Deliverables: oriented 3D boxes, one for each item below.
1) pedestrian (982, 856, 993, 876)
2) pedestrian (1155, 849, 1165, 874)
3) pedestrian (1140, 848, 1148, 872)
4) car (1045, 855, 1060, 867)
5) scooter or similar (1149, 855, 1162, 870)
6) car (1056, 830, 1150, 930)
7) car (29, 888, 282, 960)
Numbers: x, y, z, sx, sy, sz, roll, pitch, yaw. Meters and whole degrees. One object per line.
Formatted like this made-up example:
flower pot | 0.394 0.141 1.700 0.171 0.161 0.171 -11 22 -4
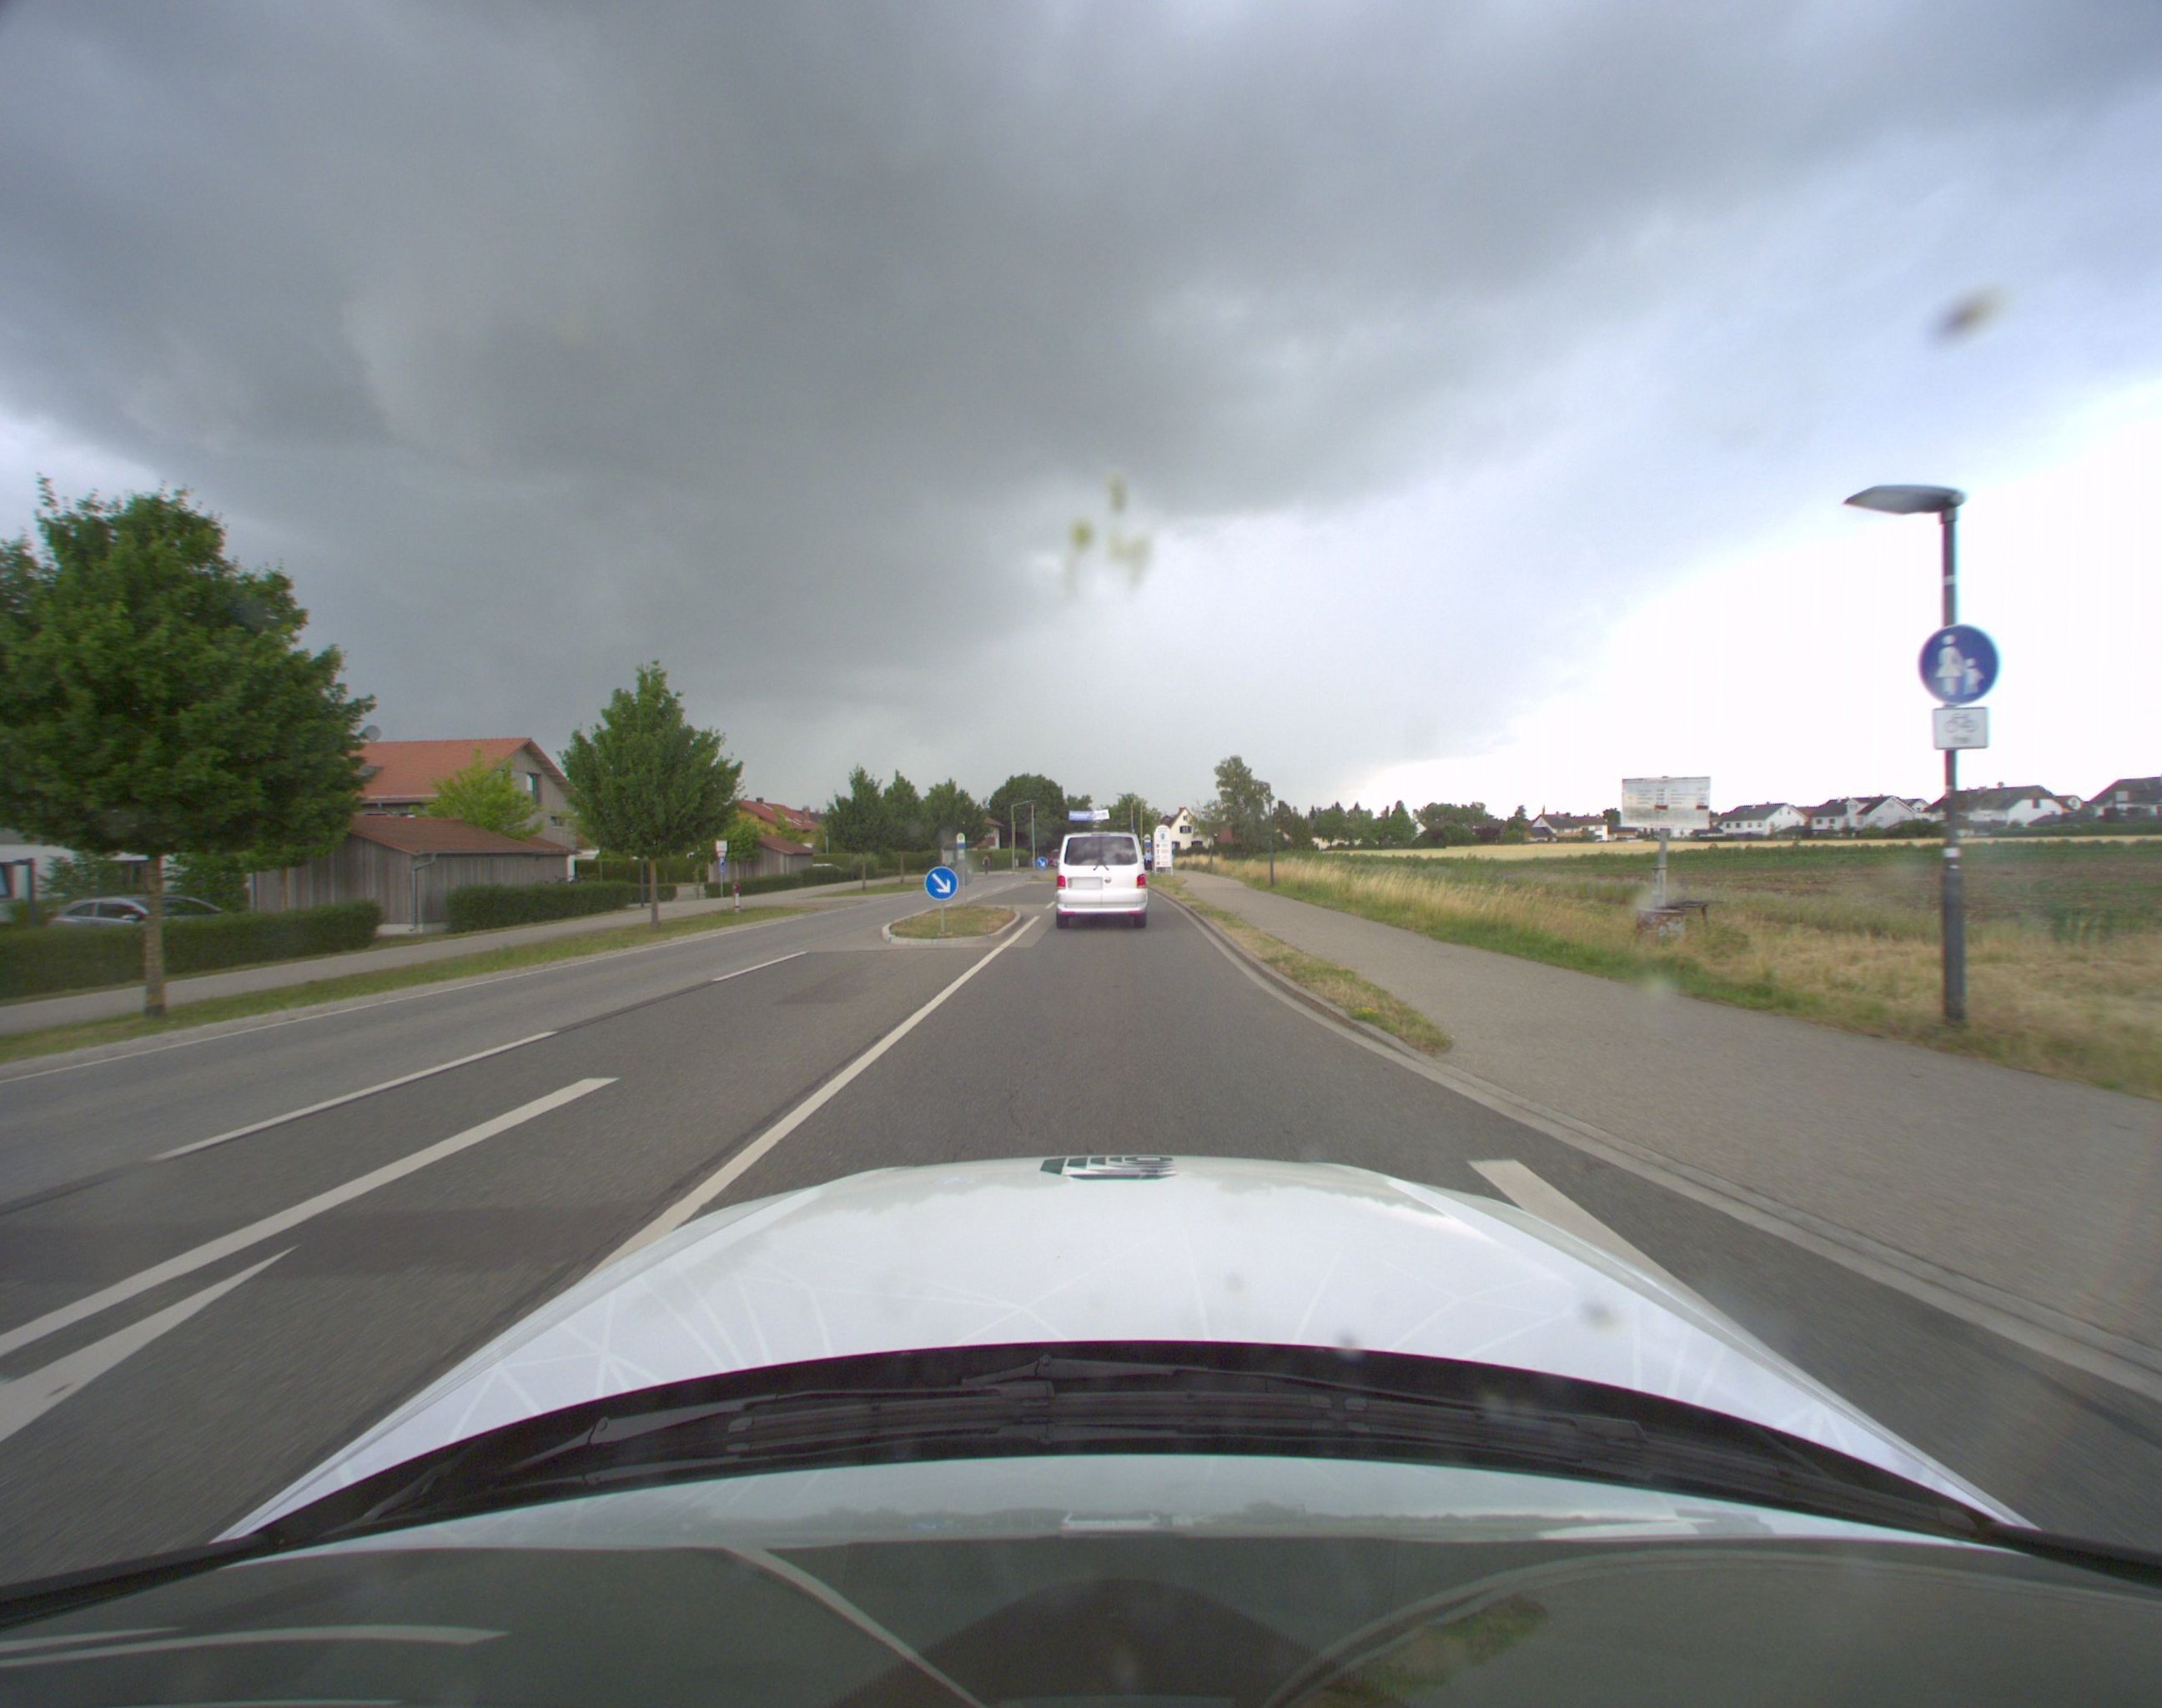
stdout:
pedestrian | -7.250 0.935 63.147 0.621 1.525 0.680 -3 0 1
pedestrian | 5.521 0.496 56.897 0.484 1.732 0.641 -3 0 -4
pedestrian | 4.750 0.448 61.717 0.483 1.732 0.642 -3 0 1
car | -3.590 0.848 104.191 1.647 1.429 3.604 -3 0 2
scooter or similar | 5.686 0.652 62.165 0.845 1.103 1.095 -3 0 2
car | 0.447 0.495 17.792 1.819 1.913 4.000 -1 0 0
car | -22.405 1.673 19.843 3.970 1.556 2.002 0 0 3
